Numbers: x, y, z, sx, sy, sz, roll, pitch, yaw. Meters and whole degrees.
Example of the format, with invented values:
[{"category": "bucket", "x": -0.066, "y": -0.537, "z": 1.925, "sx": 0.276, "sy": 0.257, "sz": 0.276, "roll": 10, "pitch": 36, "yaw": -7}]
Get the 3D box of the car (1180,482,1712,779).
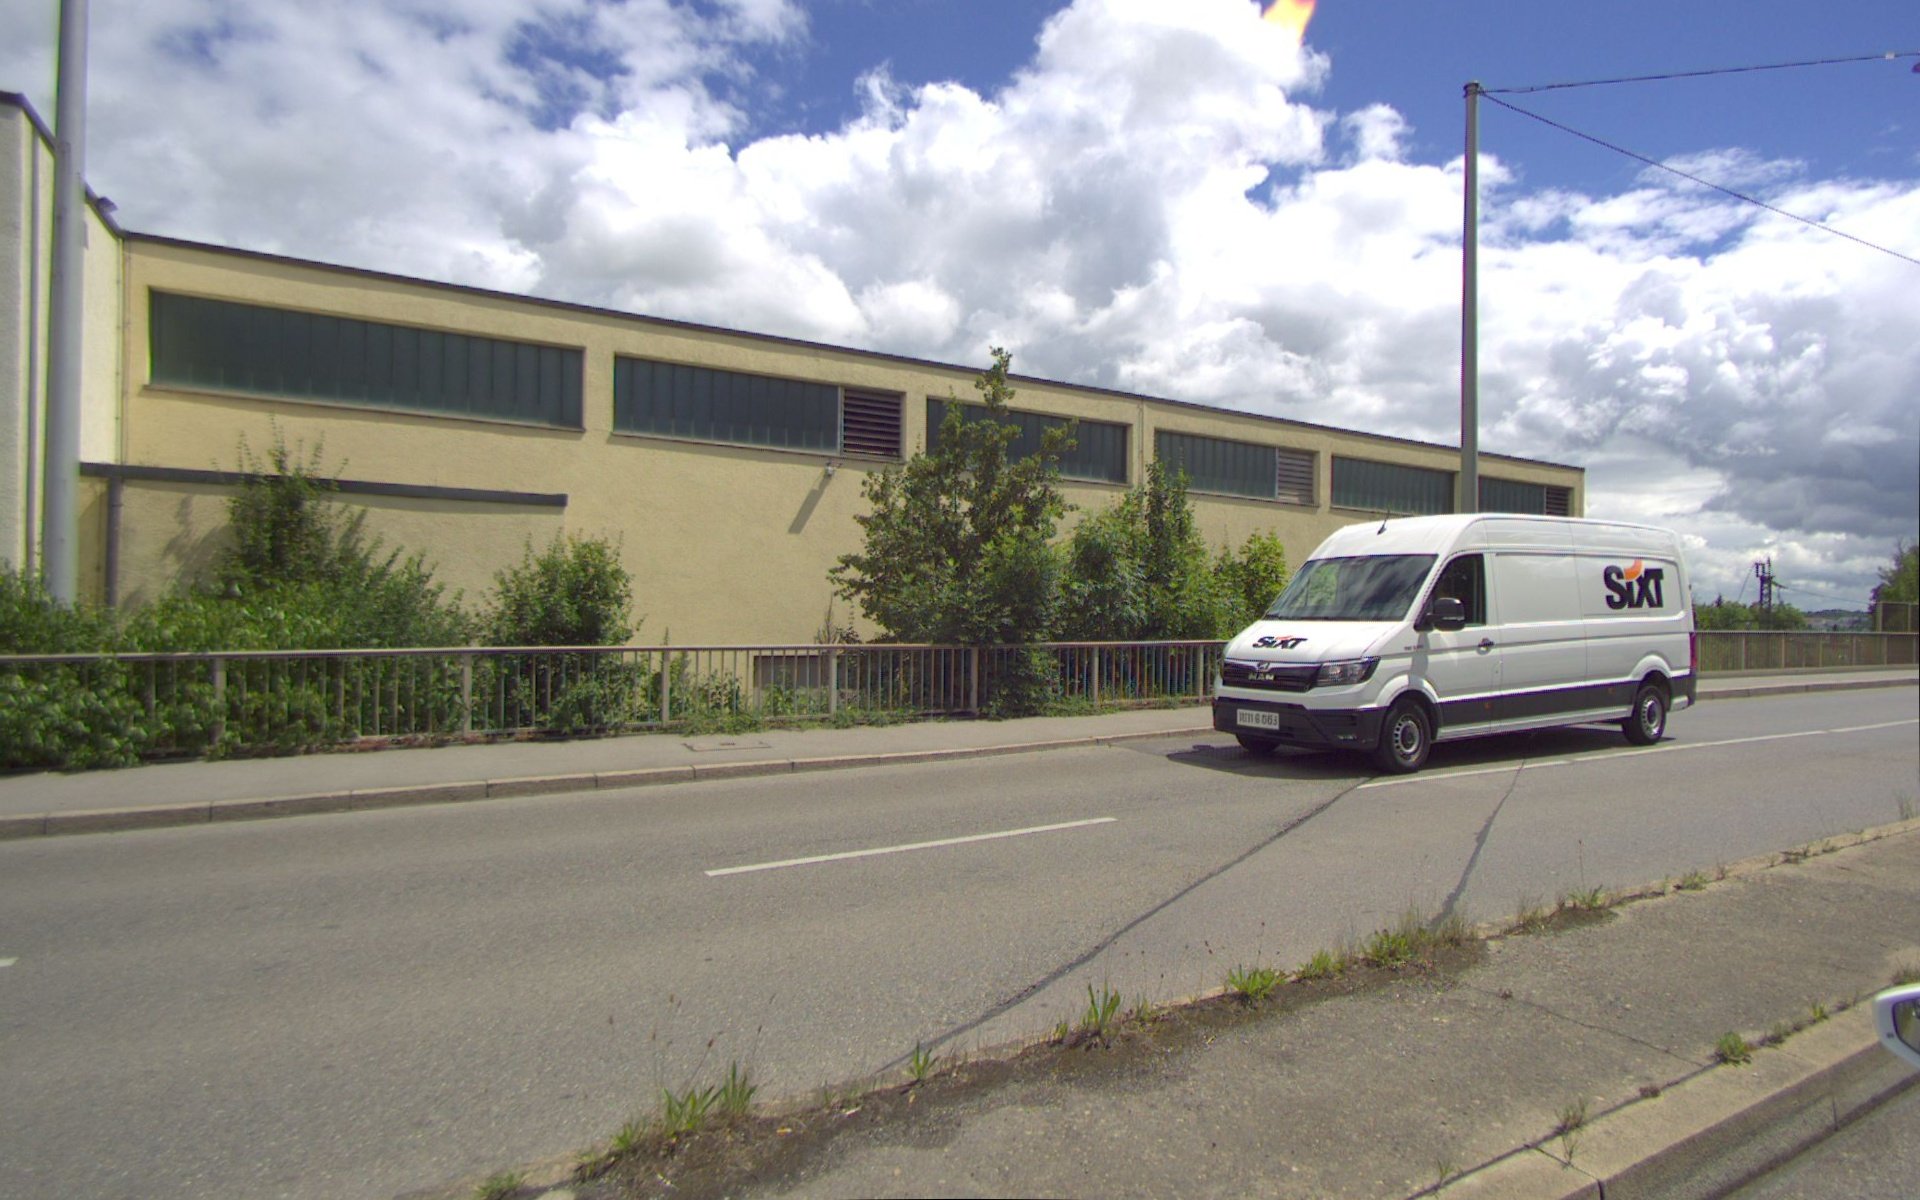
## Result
[{"category": "car", "x": 5.741, "y": 0.333, "z": 11.431, "sx": 6.741, "sy": 2.605, "sz": 2.057, "roll": 1, "pitch": -2, "yaw": -30}]
